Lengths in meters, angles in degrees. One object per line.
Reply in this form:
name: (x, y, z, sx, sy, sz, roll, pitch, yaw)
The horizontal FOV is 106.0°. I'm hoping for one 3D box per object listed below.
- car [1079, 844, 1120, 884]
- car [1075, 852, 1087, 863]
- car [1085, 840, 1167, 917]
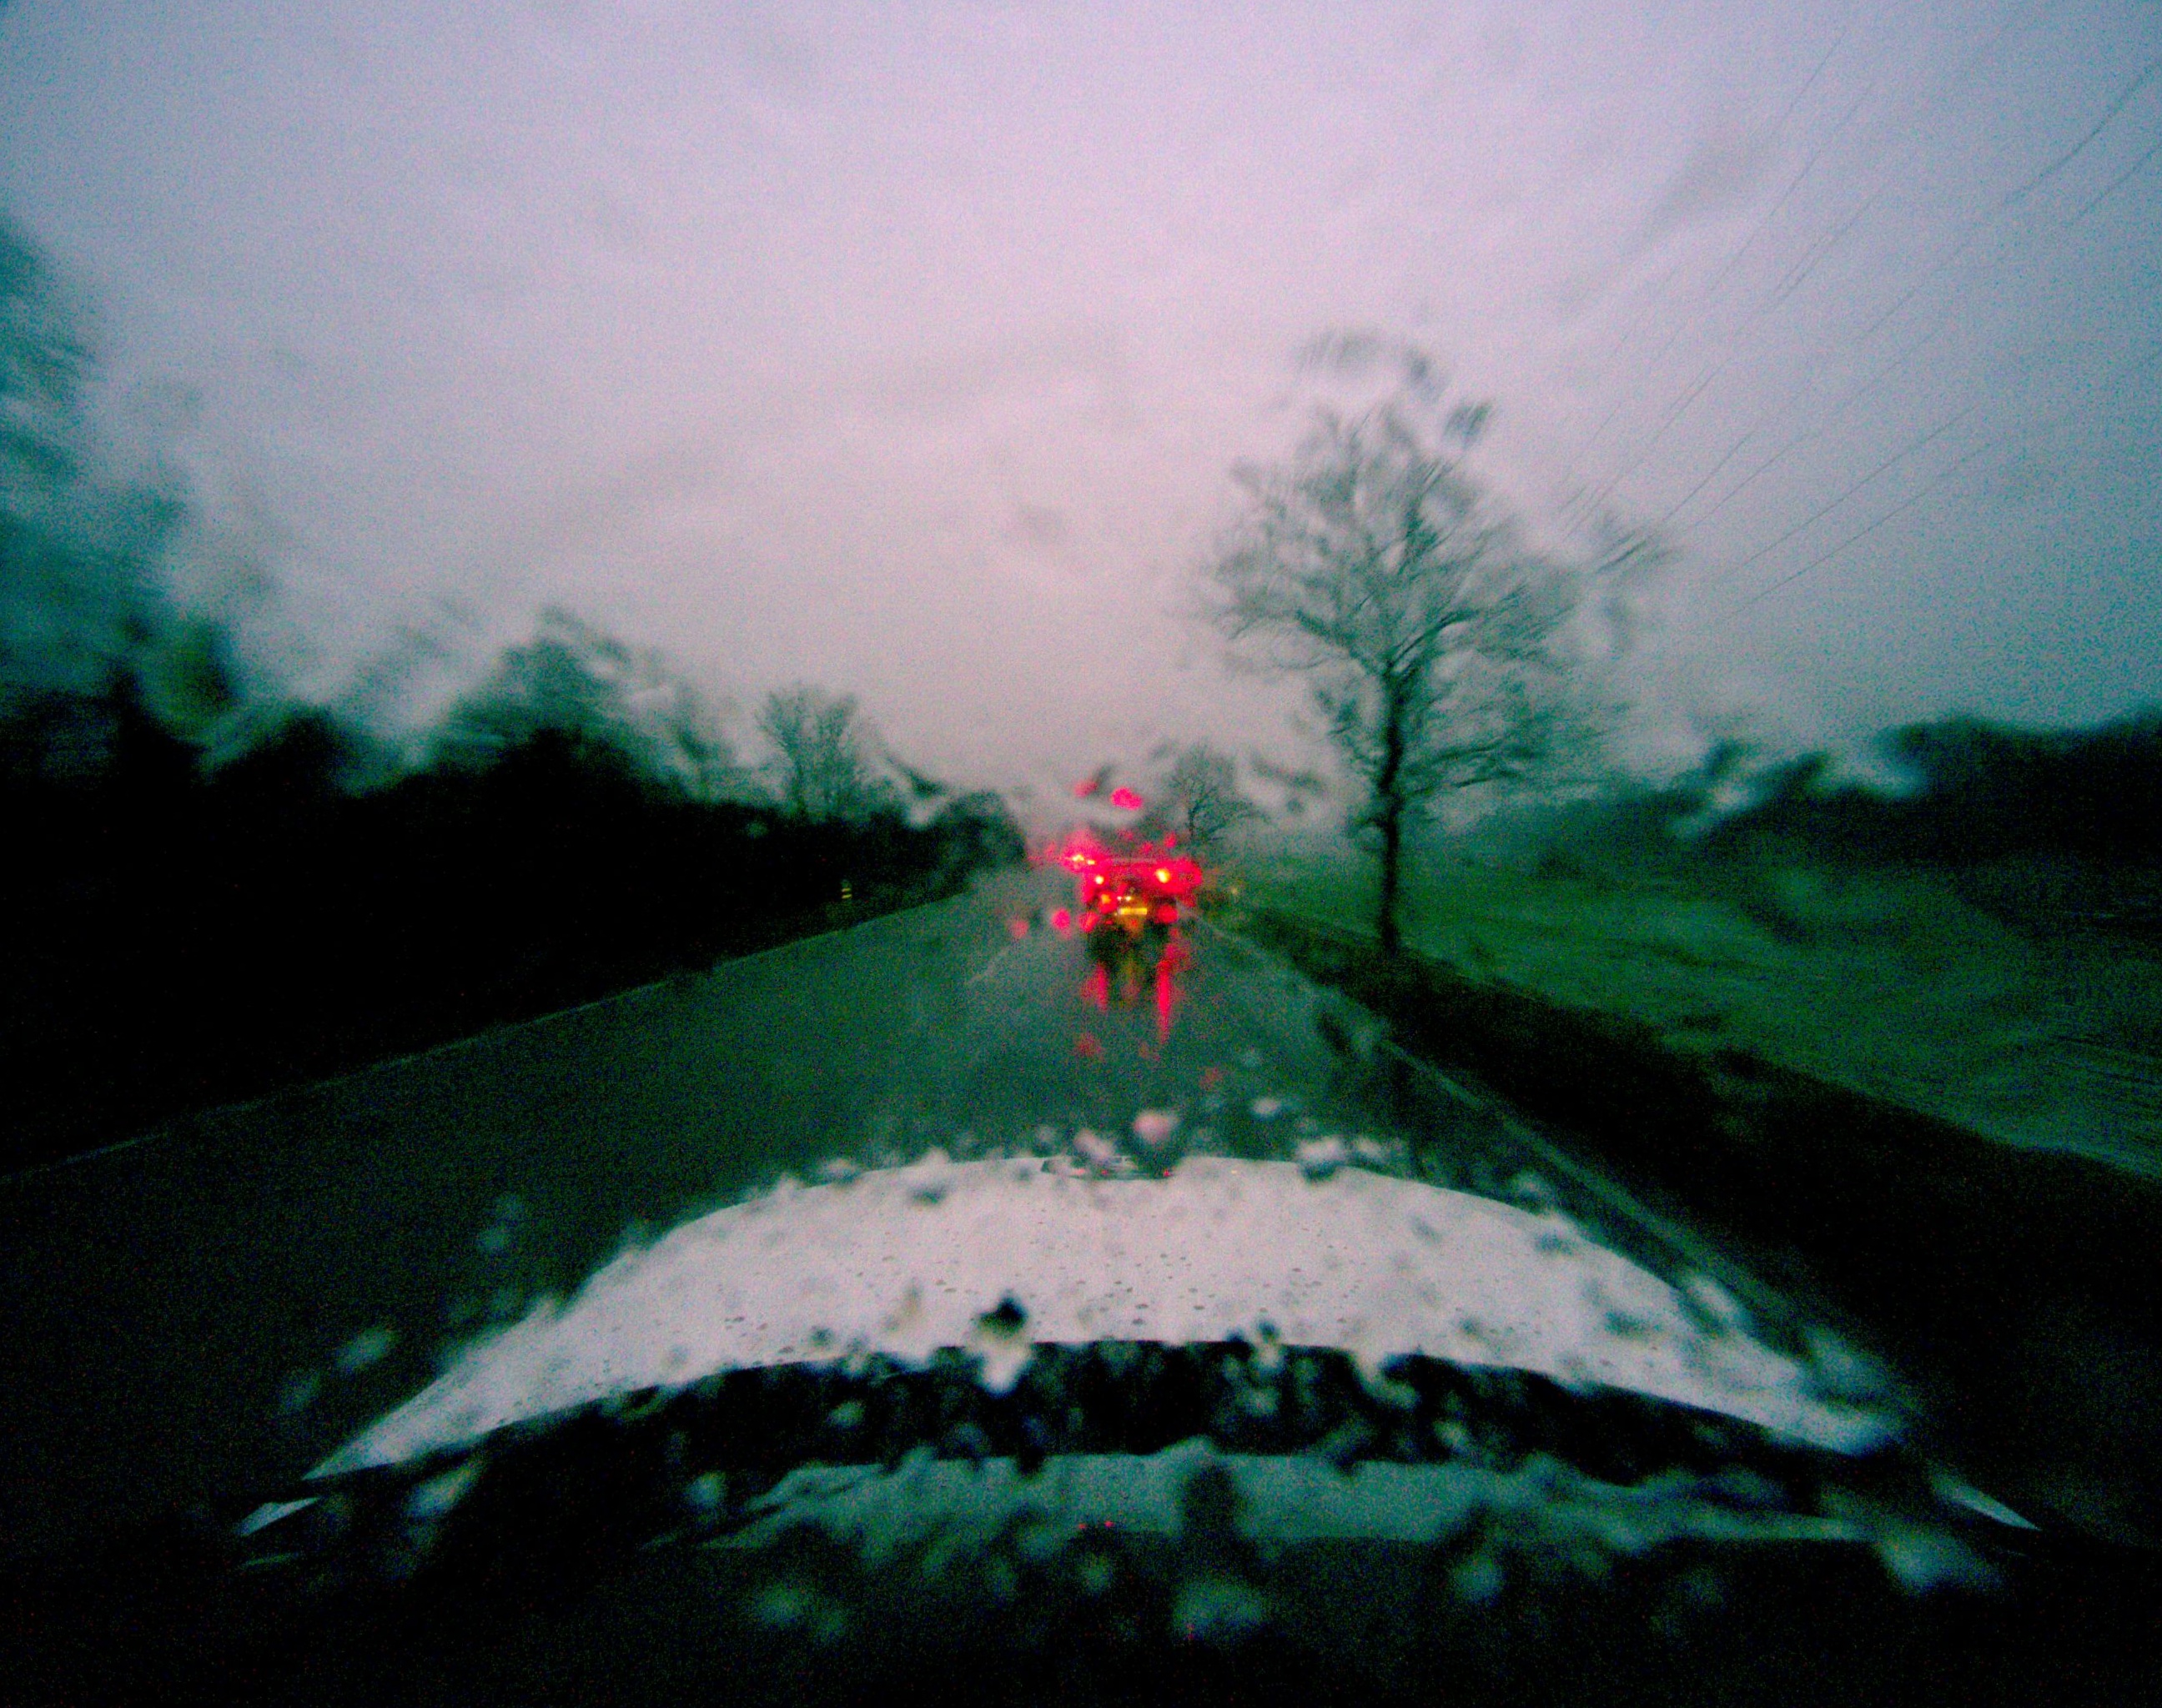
car: (1.021, 0.509, 42.675, 1.843, 2.013, 4.005, -1, 0, 5)
car: (-0.017, 0.597, 137.950, 1.855, 1.700, 4.471, -1, 0, 3)
car: (0.956, 0.450, 16.514, 1.493, 1.398, 3.204, -1, 0, 5)
